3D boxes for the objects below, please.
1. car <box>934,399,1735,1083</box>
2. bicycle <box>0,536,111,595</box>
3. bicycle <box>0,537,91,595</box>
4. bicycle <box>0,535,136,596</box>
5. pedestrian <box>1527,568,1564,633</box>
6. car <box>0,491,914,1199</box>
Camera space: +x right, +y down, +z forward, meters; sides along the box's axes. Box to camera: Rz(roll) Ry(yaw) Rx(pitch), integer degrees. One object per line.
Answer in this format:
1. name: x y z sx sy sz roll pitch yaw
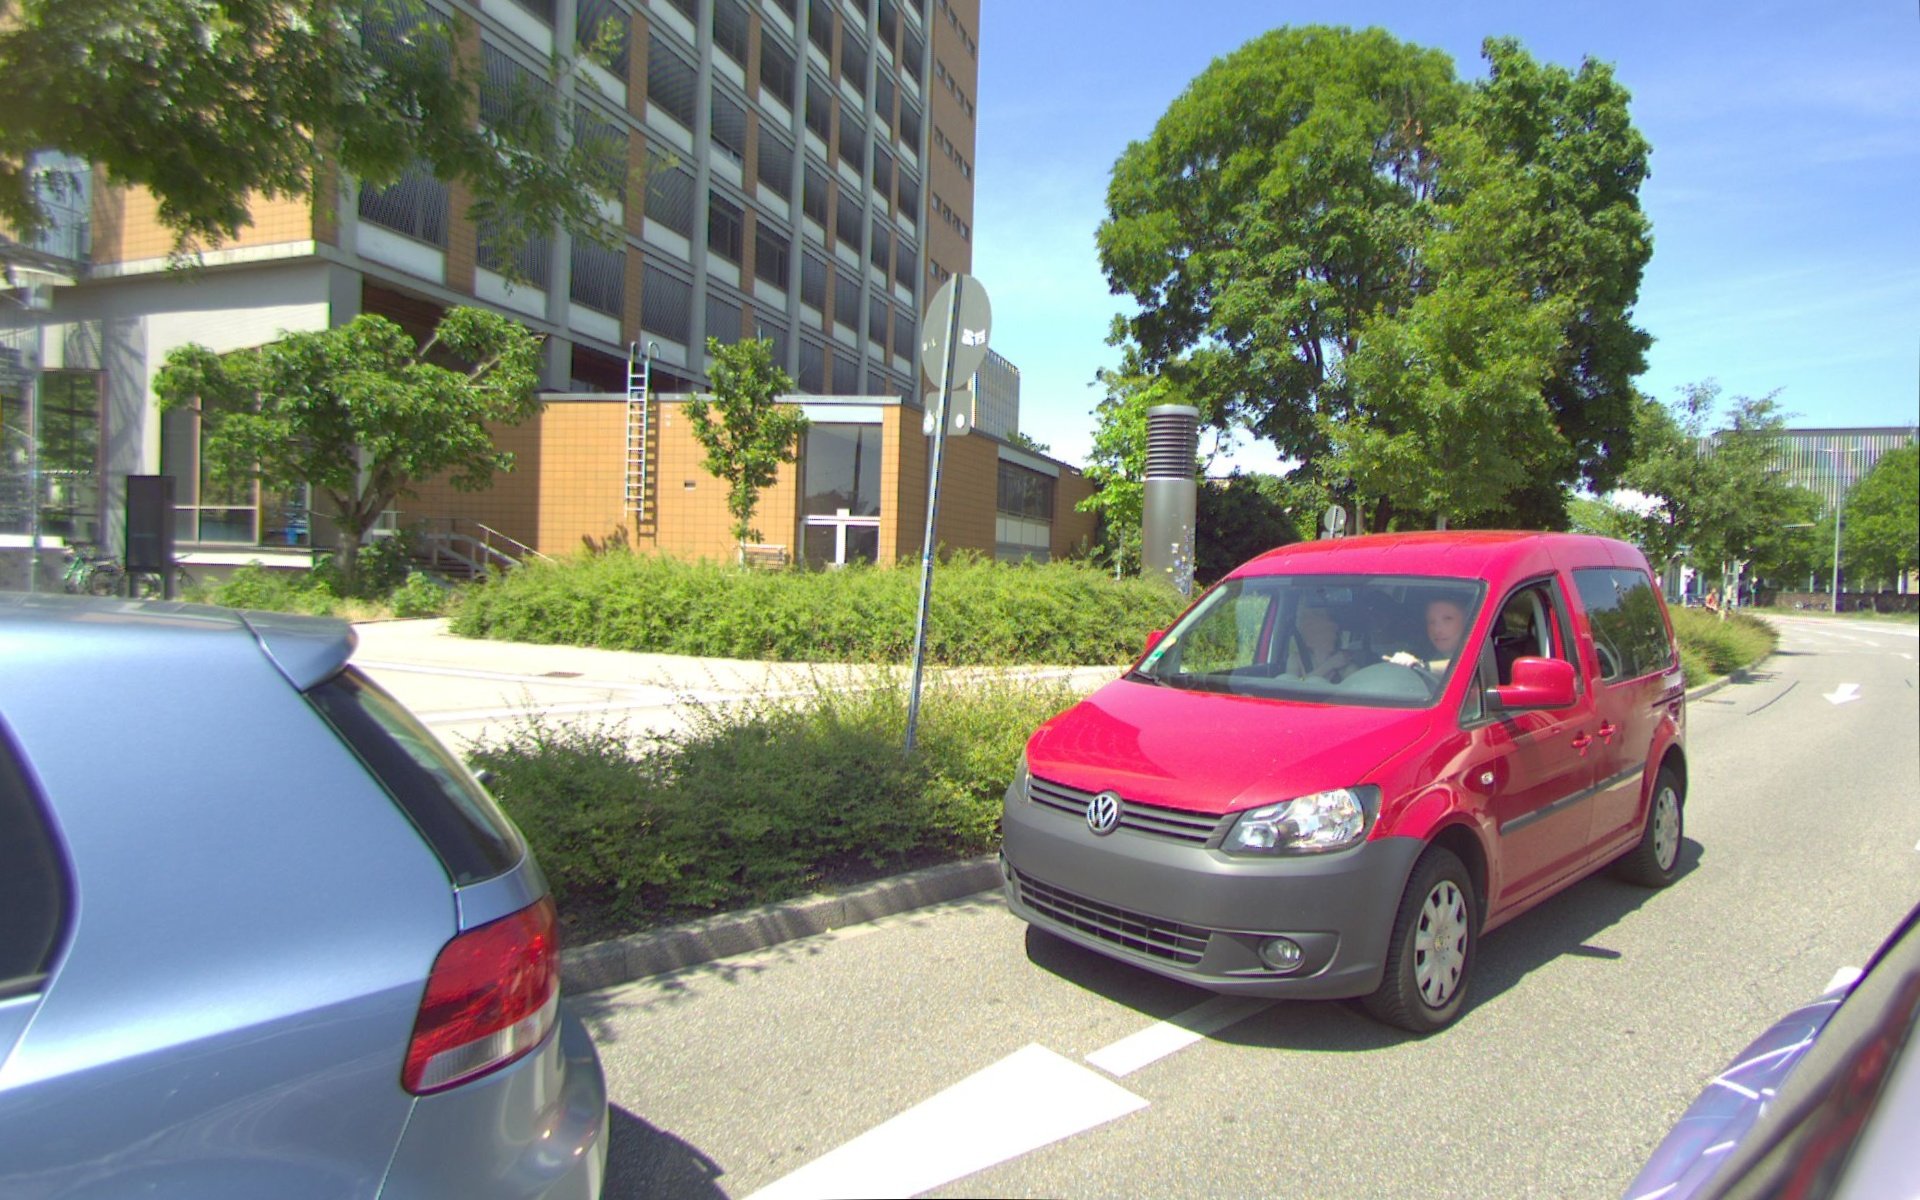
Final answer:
1. car: 2.131 0.377 4.878 4.465 1.882 1.654 0 1 -41
2. bicycle: -19.924 -0.722 22.012 0.630 1.233 2.201 0 0 22
3. bicycle: -20.634 -0.739 22.310 0.630 1.233 2.201 0 0 22
4. bicycle: -19.116 -0.713 21.707 0.630 1.233 2.201 0 0 22
5. pedestrian: 16.937 0.007 29.273 0.603 1.820 0.728 1 1 -40
6. car: -2.089 0.618 1.131 3.935 1.477 1.653 0 0 -42
